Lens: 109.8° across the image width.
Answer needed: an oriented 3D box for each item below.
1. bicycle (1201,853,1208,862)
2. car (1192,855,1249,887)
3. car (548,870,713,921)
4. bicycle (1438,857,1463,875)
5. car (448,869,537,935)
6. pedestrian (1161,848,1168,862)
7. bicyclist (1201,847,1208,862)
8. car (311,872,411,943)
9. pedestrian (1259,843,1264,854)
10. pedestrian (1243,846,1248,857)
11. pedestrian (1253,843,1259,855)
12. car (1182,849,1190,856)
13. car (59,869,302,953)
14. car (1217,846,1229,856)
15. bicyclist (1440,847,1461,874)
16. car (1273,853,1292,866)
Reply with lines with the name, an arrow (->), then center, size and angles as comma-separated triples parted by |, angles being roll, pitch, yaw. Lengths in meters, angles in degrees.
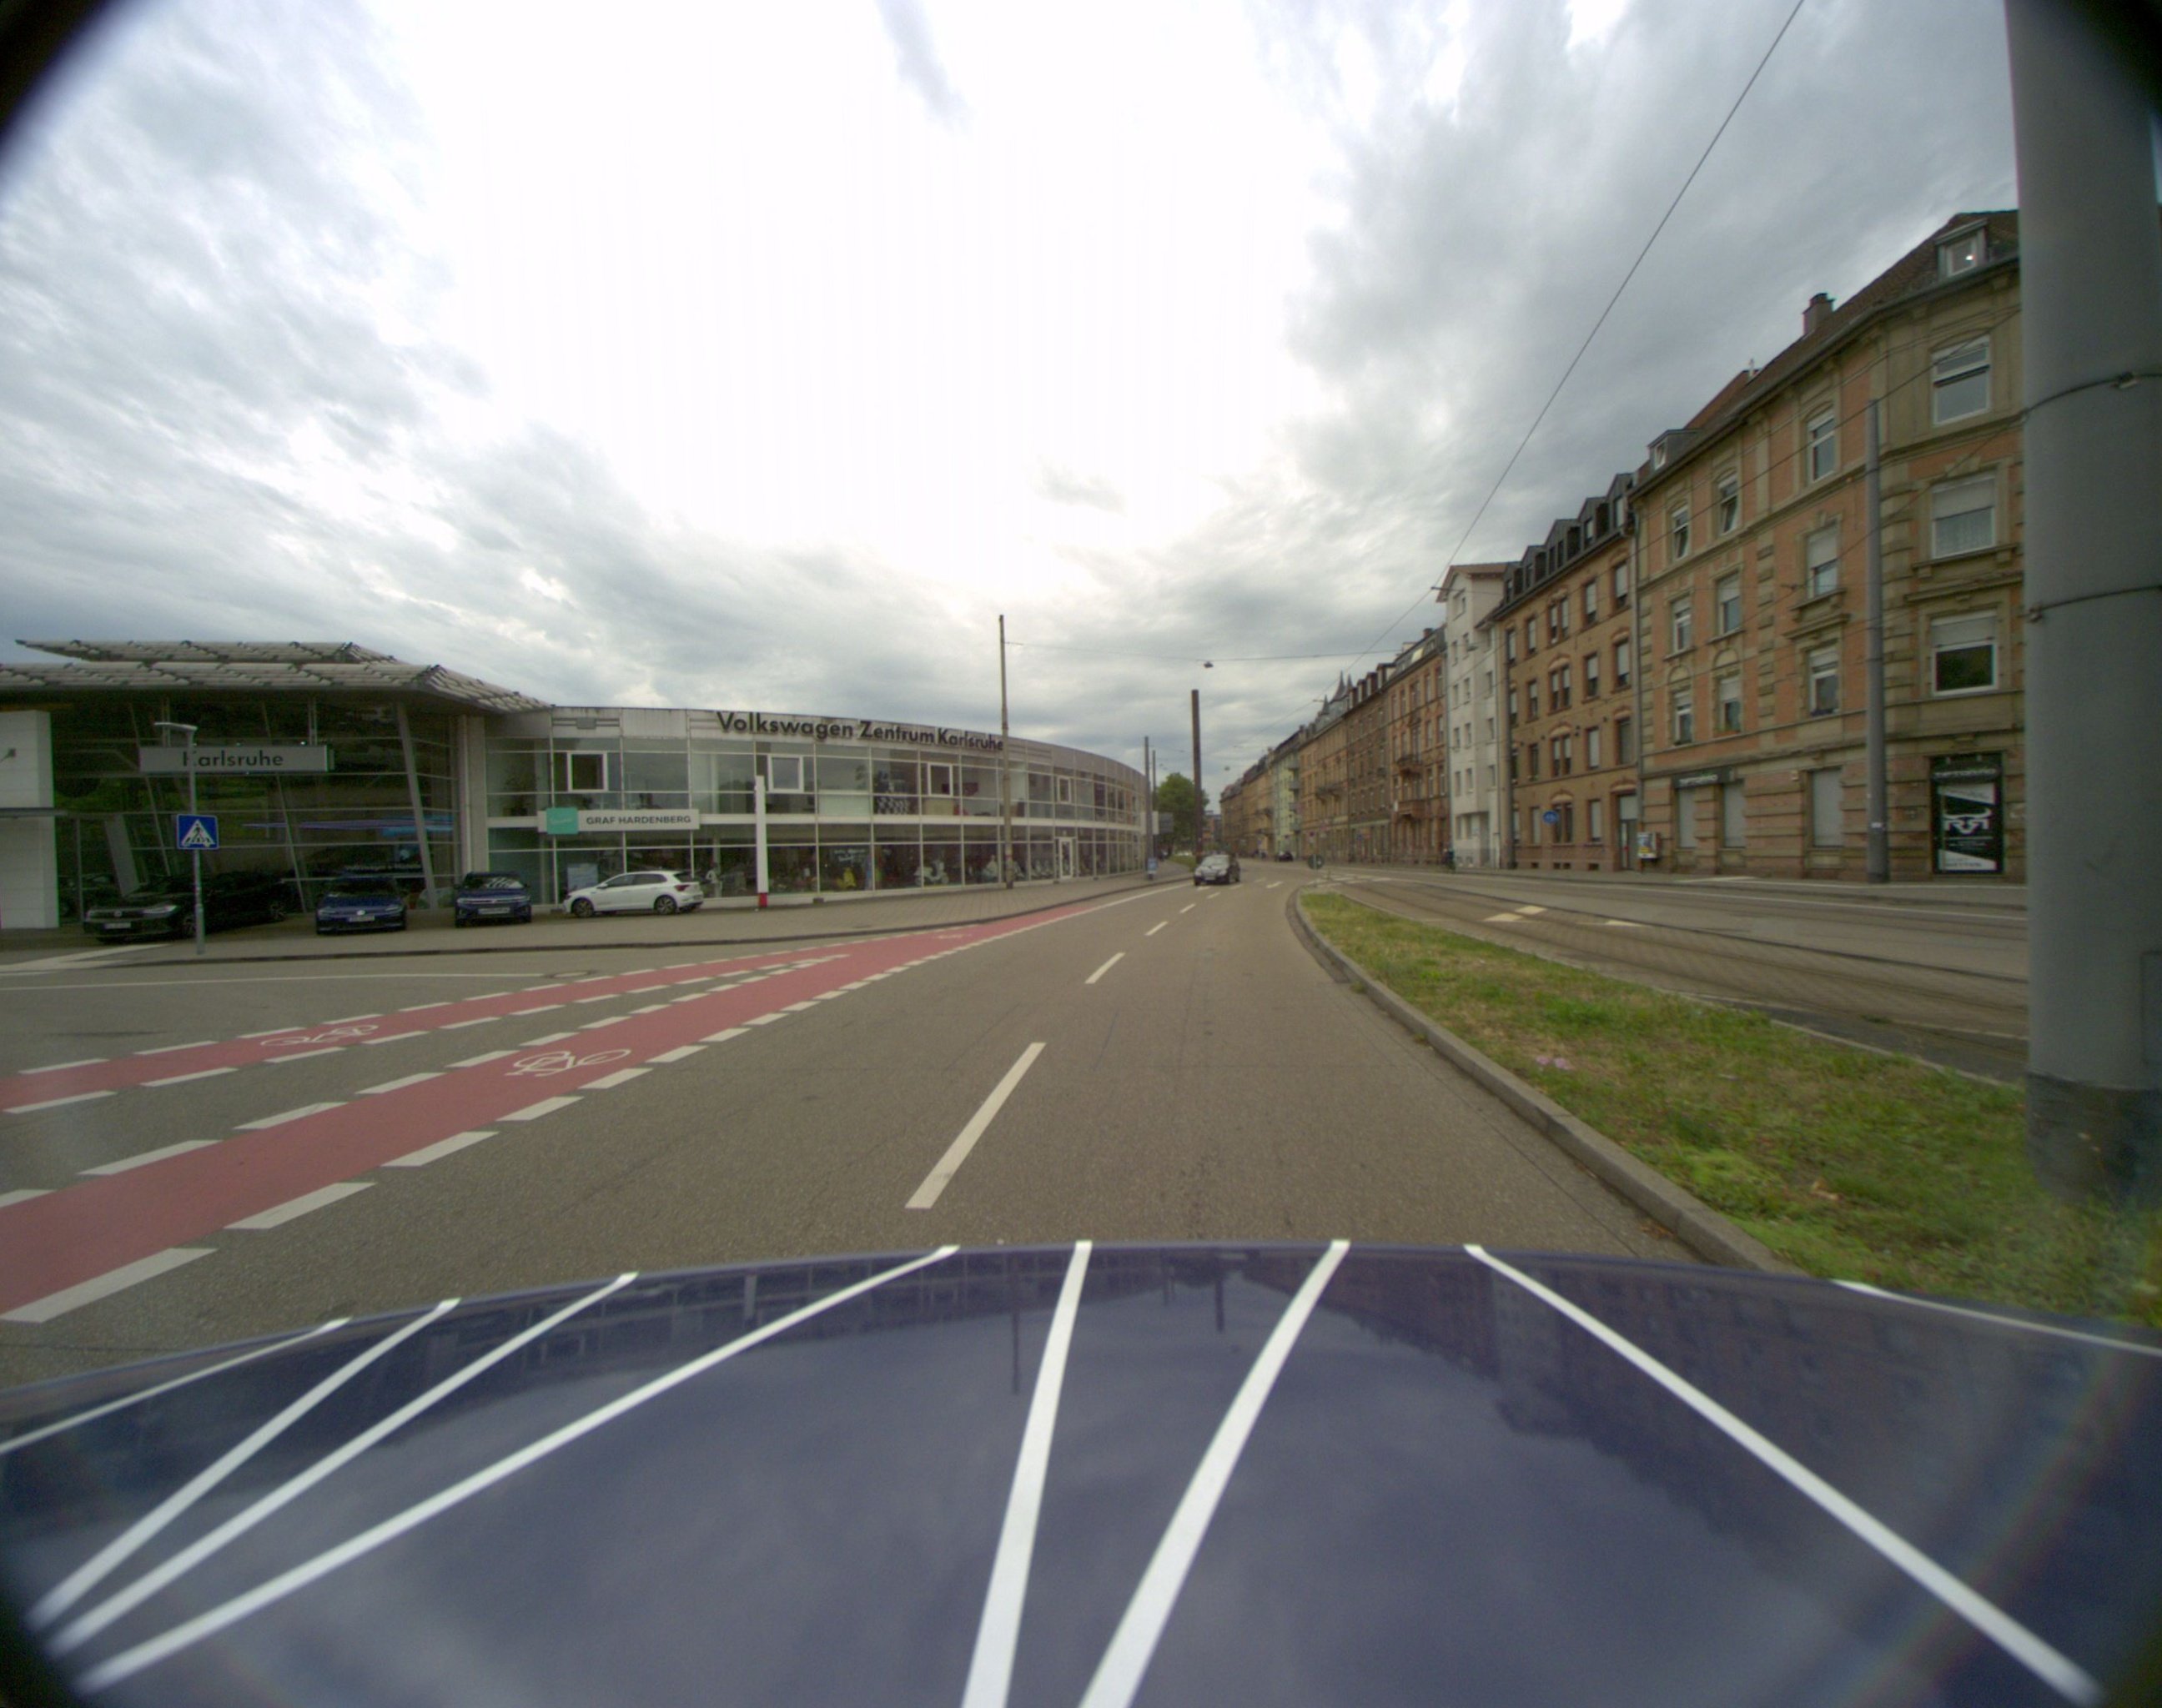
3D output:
bicycle -> 15.177, 0.421, 93.325 | 0.726, 1.003, 2.178 | -2, 0, 12
car -> 6.870, 0.800, 37.088 | 1.711, 1.413, 4.076 | -1, 1, 25
car -> -14.675, 1.325, 24.946 | 4.261, 1.444, 1.782 | -2, 0, -4
bicycle -> 20.434, 0.656, 42.057 | 0.607, 0.910, 1.719 | -2, 0, 2
car -> -17.810, 1.352, 22.925 | 1.905, 1.554, 4.207 | -2, 3, -40
pedestrian -> 11.369, 0.150, 103.516 | 0.870, 1.843, 0.706 | -2, 1, 6
bicyclist -> 15.190, 0.050, 93.376 | 0.729, 1.747, 0.911 | -1, 1, 12
car -> -20.305, 1.417, 21.585 | 1.862, 1.496, 4.325 | -3, 4, -41
pedestrian -> 31.662, -0.962, 133.177 | 0.810, 2.002, 0.878 | -2, 1, 6
pedestrian -> 30.461, -0.430, 141.024 | 0.814, 2.002, 0.734 | -2, 1, 6
pedestrian -> 30.336, -0.910, 131.605 | 0.810, 2.002, 0.700 | -2, 1, 6
car -> 25.778, -0.343, 186.319 | 1.801, 1.630, 4.231 | -2, 0, 6
car -> -24.545, 1.440, 21.033 | 1.861, 1.624, 4.501 | -3, 4, -12
car -> 24.862, -0.536, 132.936 | 1.801, 1.630, 4.231 | -2, 0, 6
bicyclist -> 20.419, 0.347, 42.001 | 0.663, 1.486, 0.942 | -2, 1, 2
car -> 25.619, 0.689, 96.593 | 1.852, 1.471, 3.830 | -2, 0, 8
